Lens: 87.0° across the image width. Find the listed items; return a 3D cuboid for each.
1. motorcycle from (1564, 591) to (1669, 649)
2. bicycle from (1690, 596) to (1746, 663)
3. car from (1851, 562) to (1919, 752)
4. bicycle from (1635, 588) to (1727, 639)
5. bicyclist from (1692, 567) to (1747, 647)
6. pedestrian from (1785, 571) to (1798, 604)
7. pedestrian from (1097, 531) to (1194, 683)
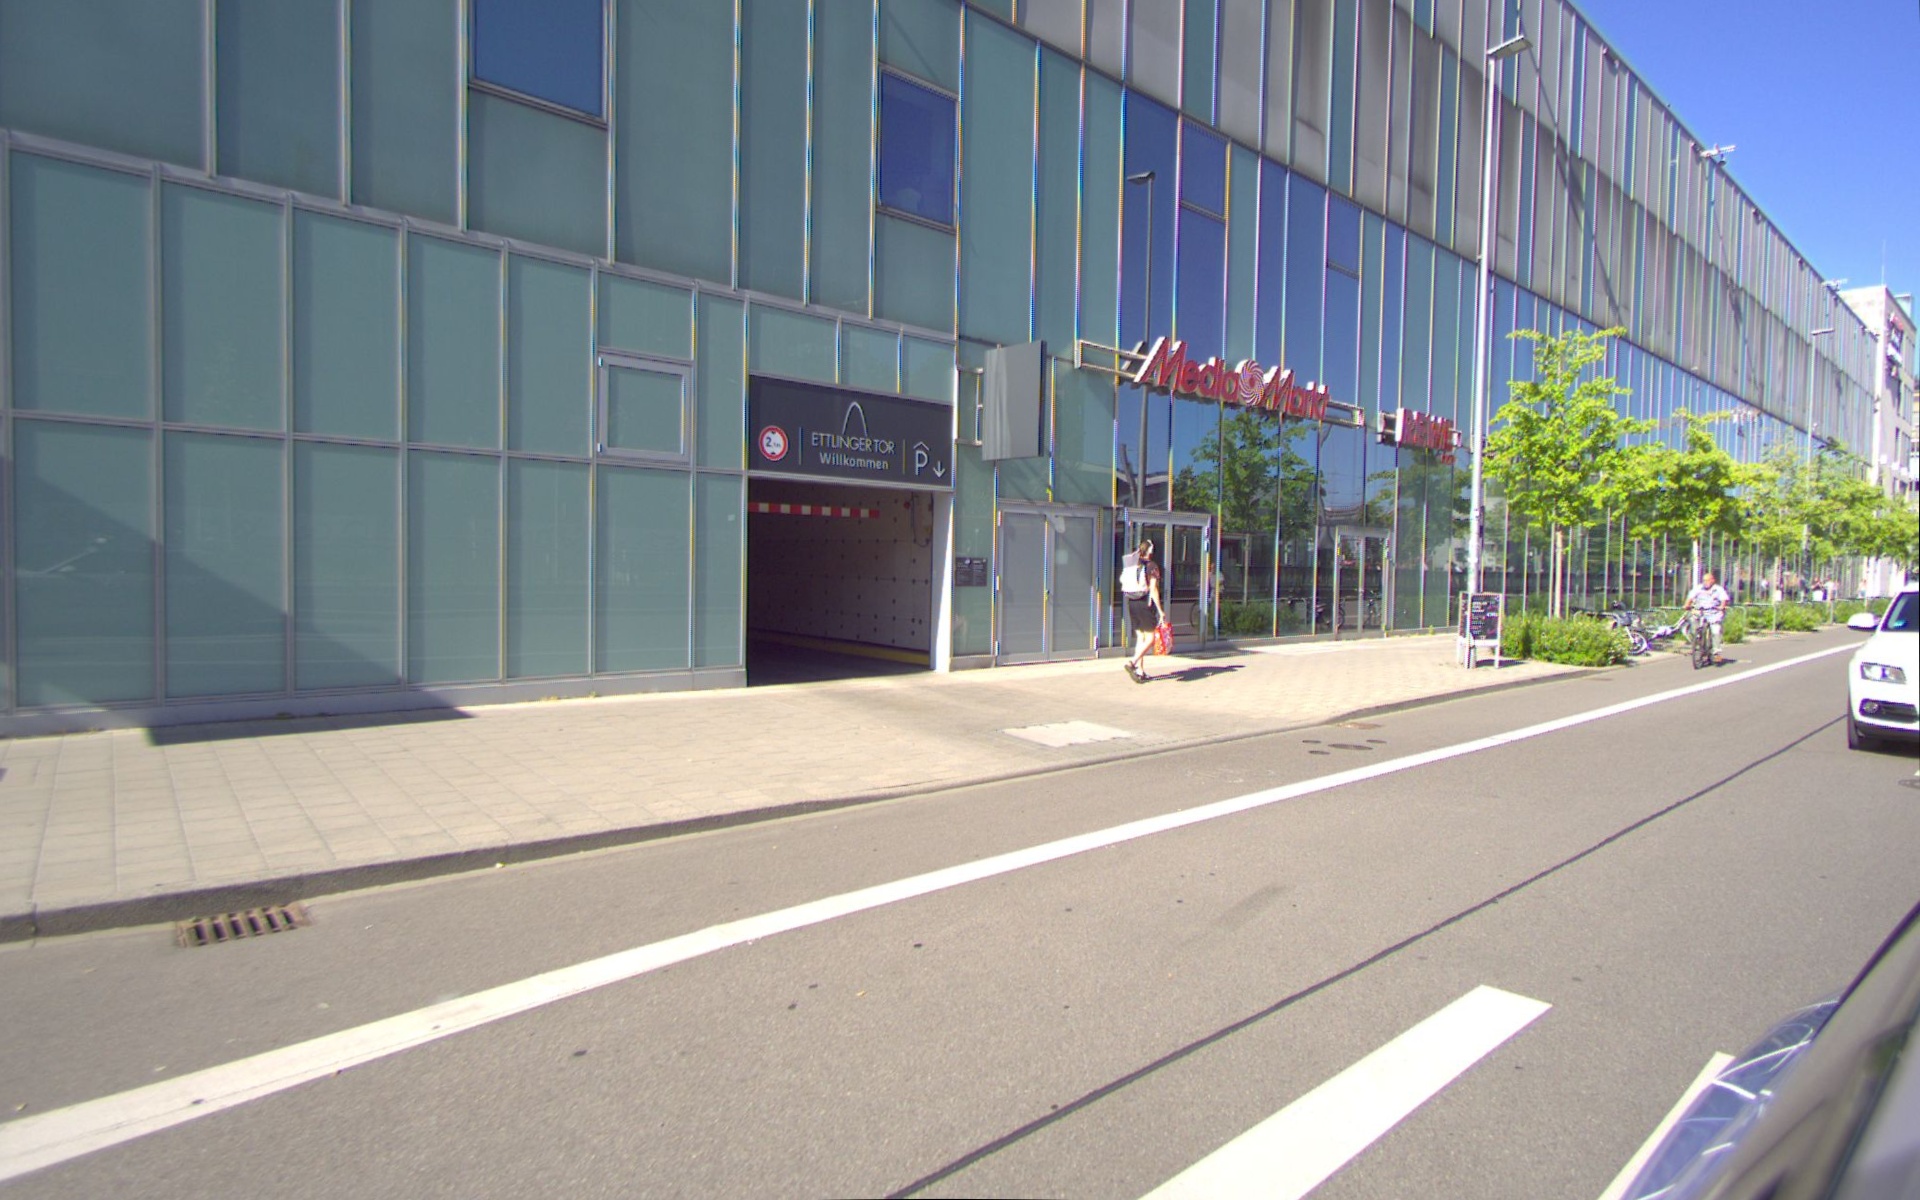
[{"bbox_3d":[14.105,0.406,21.813,0.630,1.095,1.887,0,4,-17],"label":"motorcycle"},{"bbox_3d":[14.380,0.529,19.180,0.608,1.165,1.956,0,1,44],"label":"bicycle"},{"bbox_3d":[10.146,0.481,9.795,3.933,1.654,1.931,-1,1,-43],"label":"car"},{"bbox_3d":[17.497,0.307,24.599,1.729,1.075,0.462,5,4,34],"label":"bicycle"},{"bbox_3d":[14.373,0.112,19.157,0.754,1.480,0.578,2,2,45],"label":"bicyclist"},{"bbox_3d":[43.639,-0.653,53.128,0.339,1.712,0.450,0,1,-41],"label":"pedestrian"},{"bbox_3d":[2.520,0.054,13.786,0.880,1.946,0.877,-3,7,-41],"label":"pedestrian"}]
